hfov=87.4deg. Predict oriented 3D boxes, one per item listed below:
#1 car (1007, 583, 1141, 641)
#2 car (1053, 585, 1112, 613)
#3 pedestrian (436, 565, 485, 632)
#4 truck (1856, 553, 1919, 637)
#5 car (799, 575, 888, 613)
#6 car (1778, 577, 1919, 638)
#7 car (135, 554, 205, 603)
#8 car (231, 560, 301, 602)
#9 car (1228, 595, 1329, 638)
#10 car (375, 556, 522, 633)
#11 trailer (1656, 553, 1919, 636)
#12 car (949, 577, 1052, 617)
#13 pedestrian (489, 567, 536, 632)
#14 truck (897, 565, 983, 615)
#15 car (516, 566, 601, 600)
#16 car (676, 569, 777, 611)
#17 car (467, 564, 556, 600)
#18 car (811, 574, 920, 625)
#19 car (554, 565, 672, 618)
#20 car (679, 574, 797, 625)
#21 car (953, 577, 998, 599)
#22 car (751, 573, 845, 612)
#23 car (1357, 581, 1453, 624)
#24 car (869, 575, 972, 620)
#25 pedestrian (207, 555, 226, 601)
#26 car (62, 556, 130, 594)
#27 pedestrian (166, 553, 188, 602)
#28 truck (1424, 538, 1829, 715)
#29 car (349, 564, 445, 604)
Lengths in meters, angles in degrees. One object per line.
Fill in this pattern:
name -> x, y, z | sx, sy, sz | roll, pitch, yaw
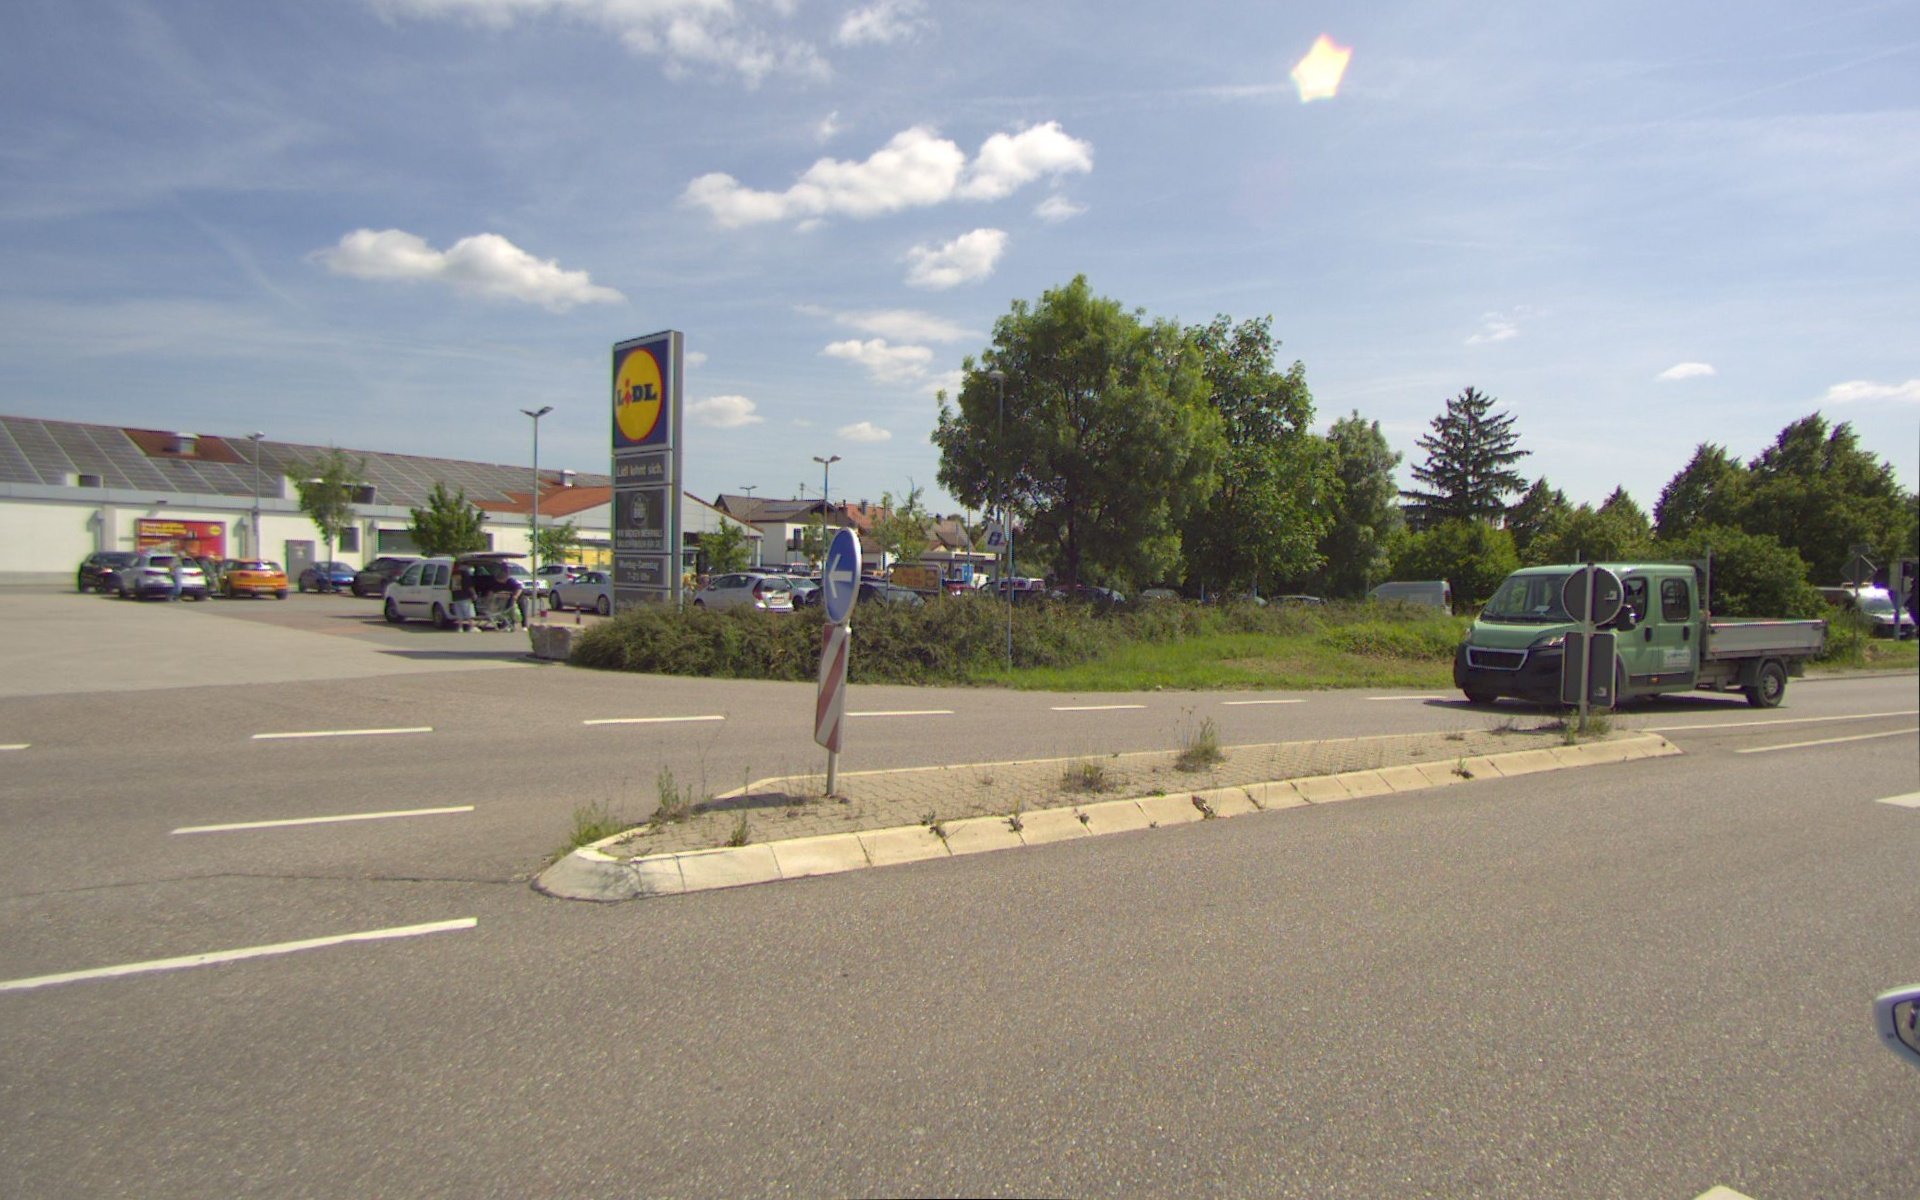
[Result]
car -> 3.580, 0.353, 31.965 | 3.942, 1.679, 1.685 | 2, 0, 42
car -> 7.786, -0.038, 63.493 | 1.883, 1.662, 3.983 | 2, 0, 38
pedestrian -> -12.141, -0.030, 24.418 | 0.692, 1.596, 0.807 | 2, 0, 33
truck -> 48.400, -0.243, 49.418 | 2.751, 4.116, 5.826 | 0, 1, -15
car -> -5.276, -0.275, 45.127 | 3.941, 1.549, 1.770 | 2, 0, 42
car -> 42.412, 0.314, 48.067 | 2.081, 2.690, 5.989 | 1, 0, 7
car -> -27.150, -0.766, 34.621 | 1.753, 1.561, 3.957 | 0, 3, -37
car -> -25.960, -0.727, 37.523 | 1.870, 1.461, 3.955 | 1, 1, -39
car -> 14.150, 0.707, 44.626 | 3.928, 1.751, 1.996 | 2, 0, 30
car -> -13.569, -0.188, 26.568 | 4.102, 1.836, 1.873 | 3, 2, 38
trailer -> 46.622, -0.386, 56.590 | 2.751, 4.116, 13.688 | 0, 1, -14
car -> 1.852, -0.156, 46.457 | 4.354, 1.717, 1.994 | 2, 1, 34
pedestrian -> -11.288, -0.003, 25.370 | 0.692, 1.596, 0.807 | 2, 0, 33
truck -> -1.059, -0.518, 51.455 | 3.933, 2.397, 1.994 | 2, 0, 34
car -> -18.943, -0.825, 47.378 | 3.933, 1.461, 1.880 | 3, 1, 35
car -> -9.261, -0.400, 39.771 | 3.937, 1.549, 1.772 | 2, 0, 38
car -> -20.178, -0.807, 45.165 | 3.933, 1.461, 1.880 | 3, 1, 35
car -> -3.622, -0.037, 38.119 | 3.940, 1.697, 1.903 | 4, 2, 40
car -> -12.309, -0.324, 35.557 | 4.354, 1.698, 1.858 | 3, 2, 38
car -> -7.643, -0.045, 34.429 | 4.082, 1.522, 1.775 | 3, 2, 39
car -> 1.360, -1.025, 85.929 | 1.867, 1.783, 3.987 | 2, 0, 35
car -> -7.005, -0.330, 43.325 | 3.937, 1.549, 1.772 | 2, 0, 38
car -> 24.935, 0.092, 56.388 | 4.525, 2.209, 1.992 | 3, 2, 38
car -> -1.642, -0.100, 41.224 | 3.940, 1.711, 1.917 | 2, 0, 40
pedestrian -> -25.919, -0.760, 35.017 | 0.512, 1.573, 0.500 | 1, 1, -37
car -> -32.750, -0.978, 38.163 | 1.702, 1.328, 3.957 | 1, 2, -37
pedestrian -> -25.636, -0.727, 32.892 | 0.500, 1.573, 0.513 | 2, 0, -32
truck -> 10.586, 0.418, 15.907 | 6.258, 2.407, 2.237 | 1, 0, -22
car -> -22.800, -0.647, 40.634 | 3.933, 1.461, 1.880 | 3, 1, 35
